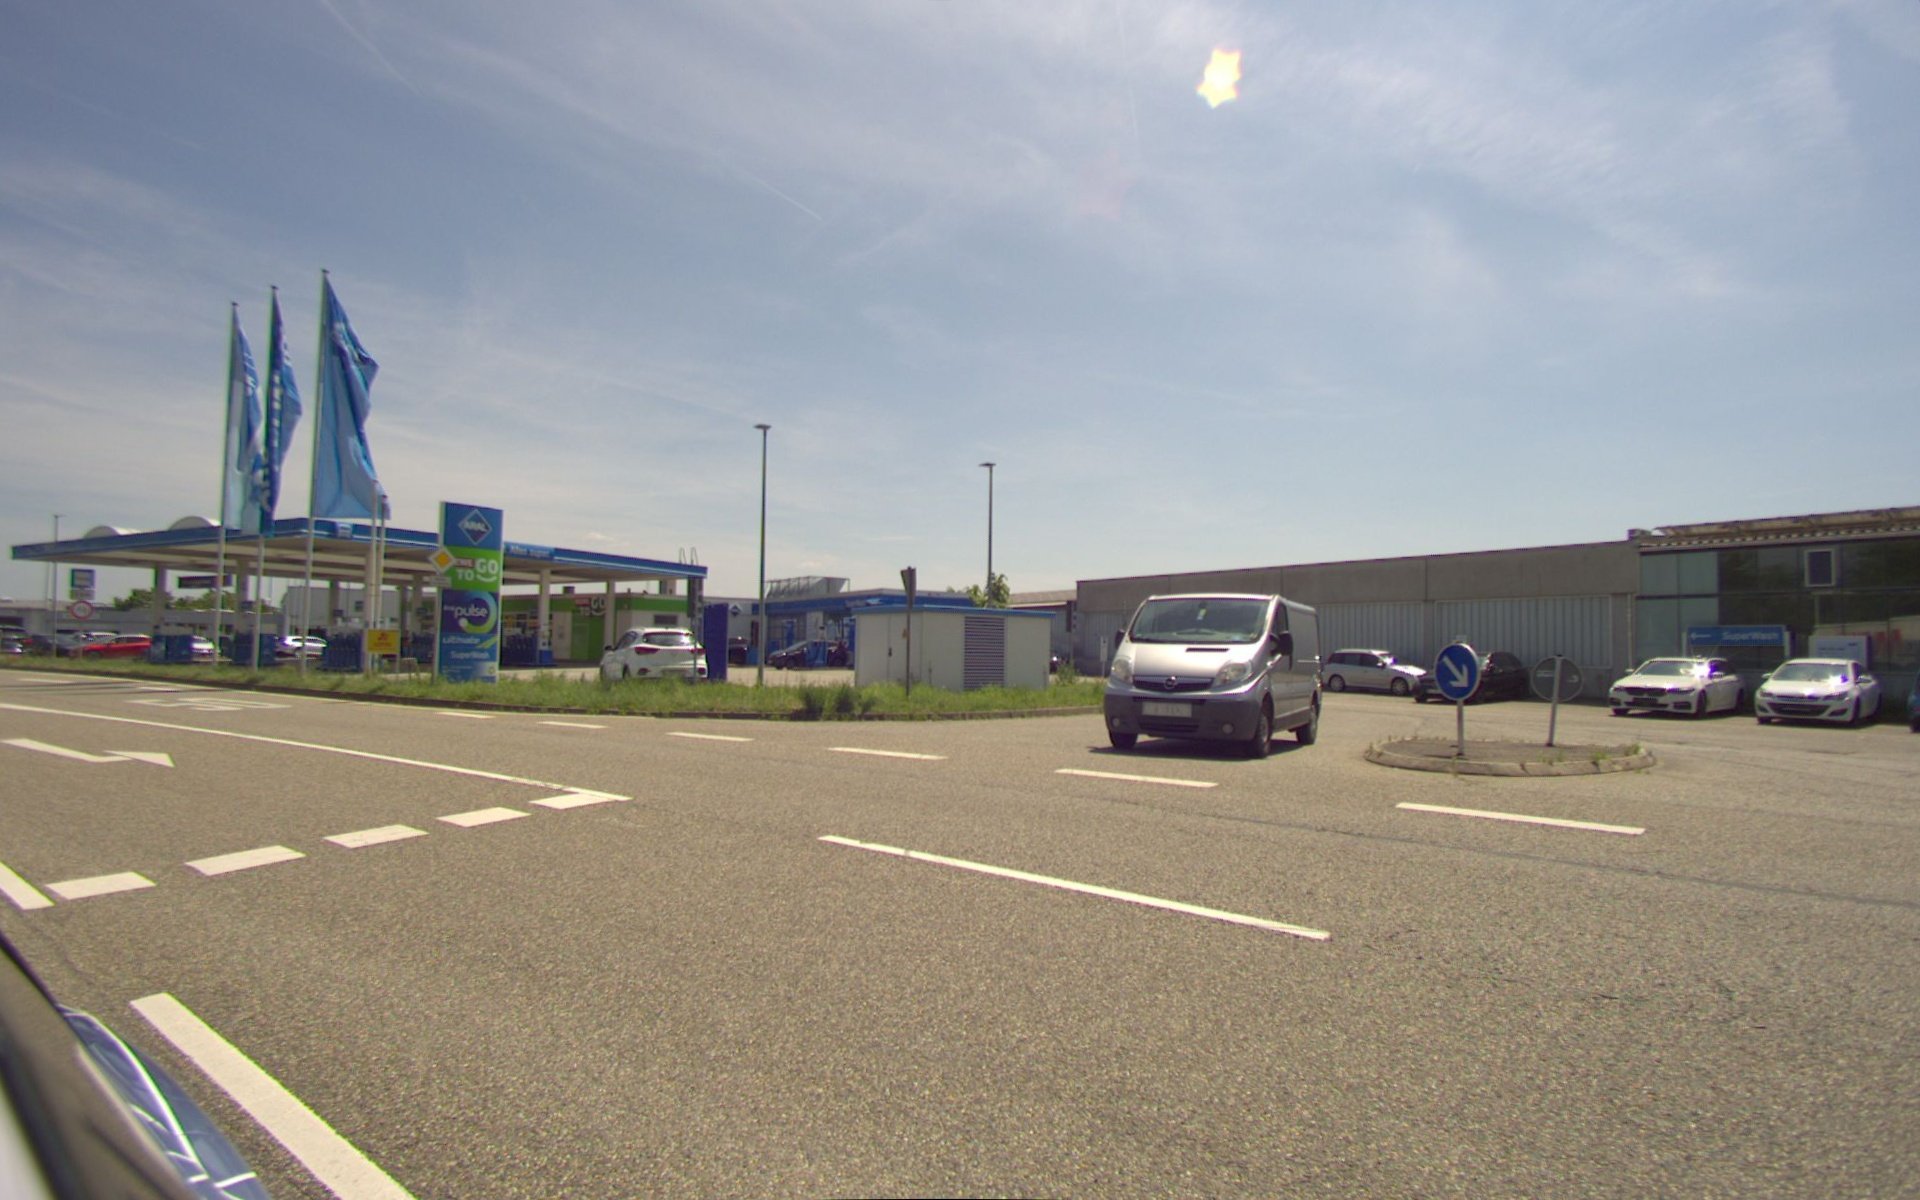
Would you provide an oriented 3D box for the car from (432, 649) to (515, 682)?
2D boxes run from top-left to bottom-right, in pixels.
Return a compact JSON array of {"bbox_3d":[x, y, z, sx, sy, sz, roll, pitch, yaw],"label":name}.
[{"bbox_3d":[-23.761,3.170,49.374,4.090,1.489,1.591,0,-2,30],"label":"car"}]

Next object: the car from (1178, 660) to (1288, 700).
[{"bbox_3d":[10.557,3.066,39.357,1.731,1.453,3.909,2,-3,-35],"label":"car"}]

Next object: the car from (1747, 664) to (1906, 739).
[{"bbox_3d":[19.563,2.211,22.816,3.805,1.508,1.848,2,-4,-36],"label":"car"}]

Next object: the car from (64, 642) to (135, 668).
[{"bbox_3d":[-51.978,3.295,61.148,3.975,1.547,1.698,-1,-3,24],"label":"car"}]

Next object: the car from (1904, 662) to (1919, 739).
[{"bbox_3d":[21.484,2.110,21.063,3.935,1.542,2.004,4,-5,-37],"label":"car"}]

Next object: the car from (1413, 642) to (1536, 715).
[{"bbox_3d":[15.191,2.270,29.840,3.934,2.029,1.602,2,-4,-36],"label":"car"}]

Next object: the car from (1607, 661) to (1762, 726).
[{"bbox_3d":[17.937,2.271,25.012,3.934,1.453,2.004,3,-4,-37],"label":"car"}]

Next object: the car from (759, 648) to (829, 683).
[{"bbox_3d":[-8.057,3.182,49.526,1.929,1.619,3.979,0,-3,16],"label":"car"}]

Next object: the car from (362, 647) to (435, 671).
[{"bbox_3d":[-33.352,3.495,60.110,4.370,1.389,1.977,-1,-4,33],"label":"car"}]

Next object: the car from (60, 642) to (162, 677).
[{"bbox_3d":[-48.837,3.455,58.292,1.992,1.918,3.960,-1,-4,29],"label":"car"}]

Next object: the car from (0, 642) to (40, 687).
[{"bbox_3d":[-38.571,2.536,40.255,4.556,1.732,1.814,-1,-3,34],"label":"car"}]

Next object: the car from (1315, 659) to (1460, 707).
[{"bbox_3d":[14.231,2.714,33.876,1.887,1.439,4.114,2,-3,-33],"label":"car"}]

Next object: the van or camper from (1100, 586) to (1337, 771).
[{"bbox_3d":[3.549,1.033,13.113,1.895,1.919,4.816,-1,-5,28],"label":"van or camper"}]

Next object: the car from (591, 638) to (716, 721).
[{"bbox_3d":[-7.468,1.817,24.374,1.837,1.725,4.532,2,-2,-30],"label":"car"}]
